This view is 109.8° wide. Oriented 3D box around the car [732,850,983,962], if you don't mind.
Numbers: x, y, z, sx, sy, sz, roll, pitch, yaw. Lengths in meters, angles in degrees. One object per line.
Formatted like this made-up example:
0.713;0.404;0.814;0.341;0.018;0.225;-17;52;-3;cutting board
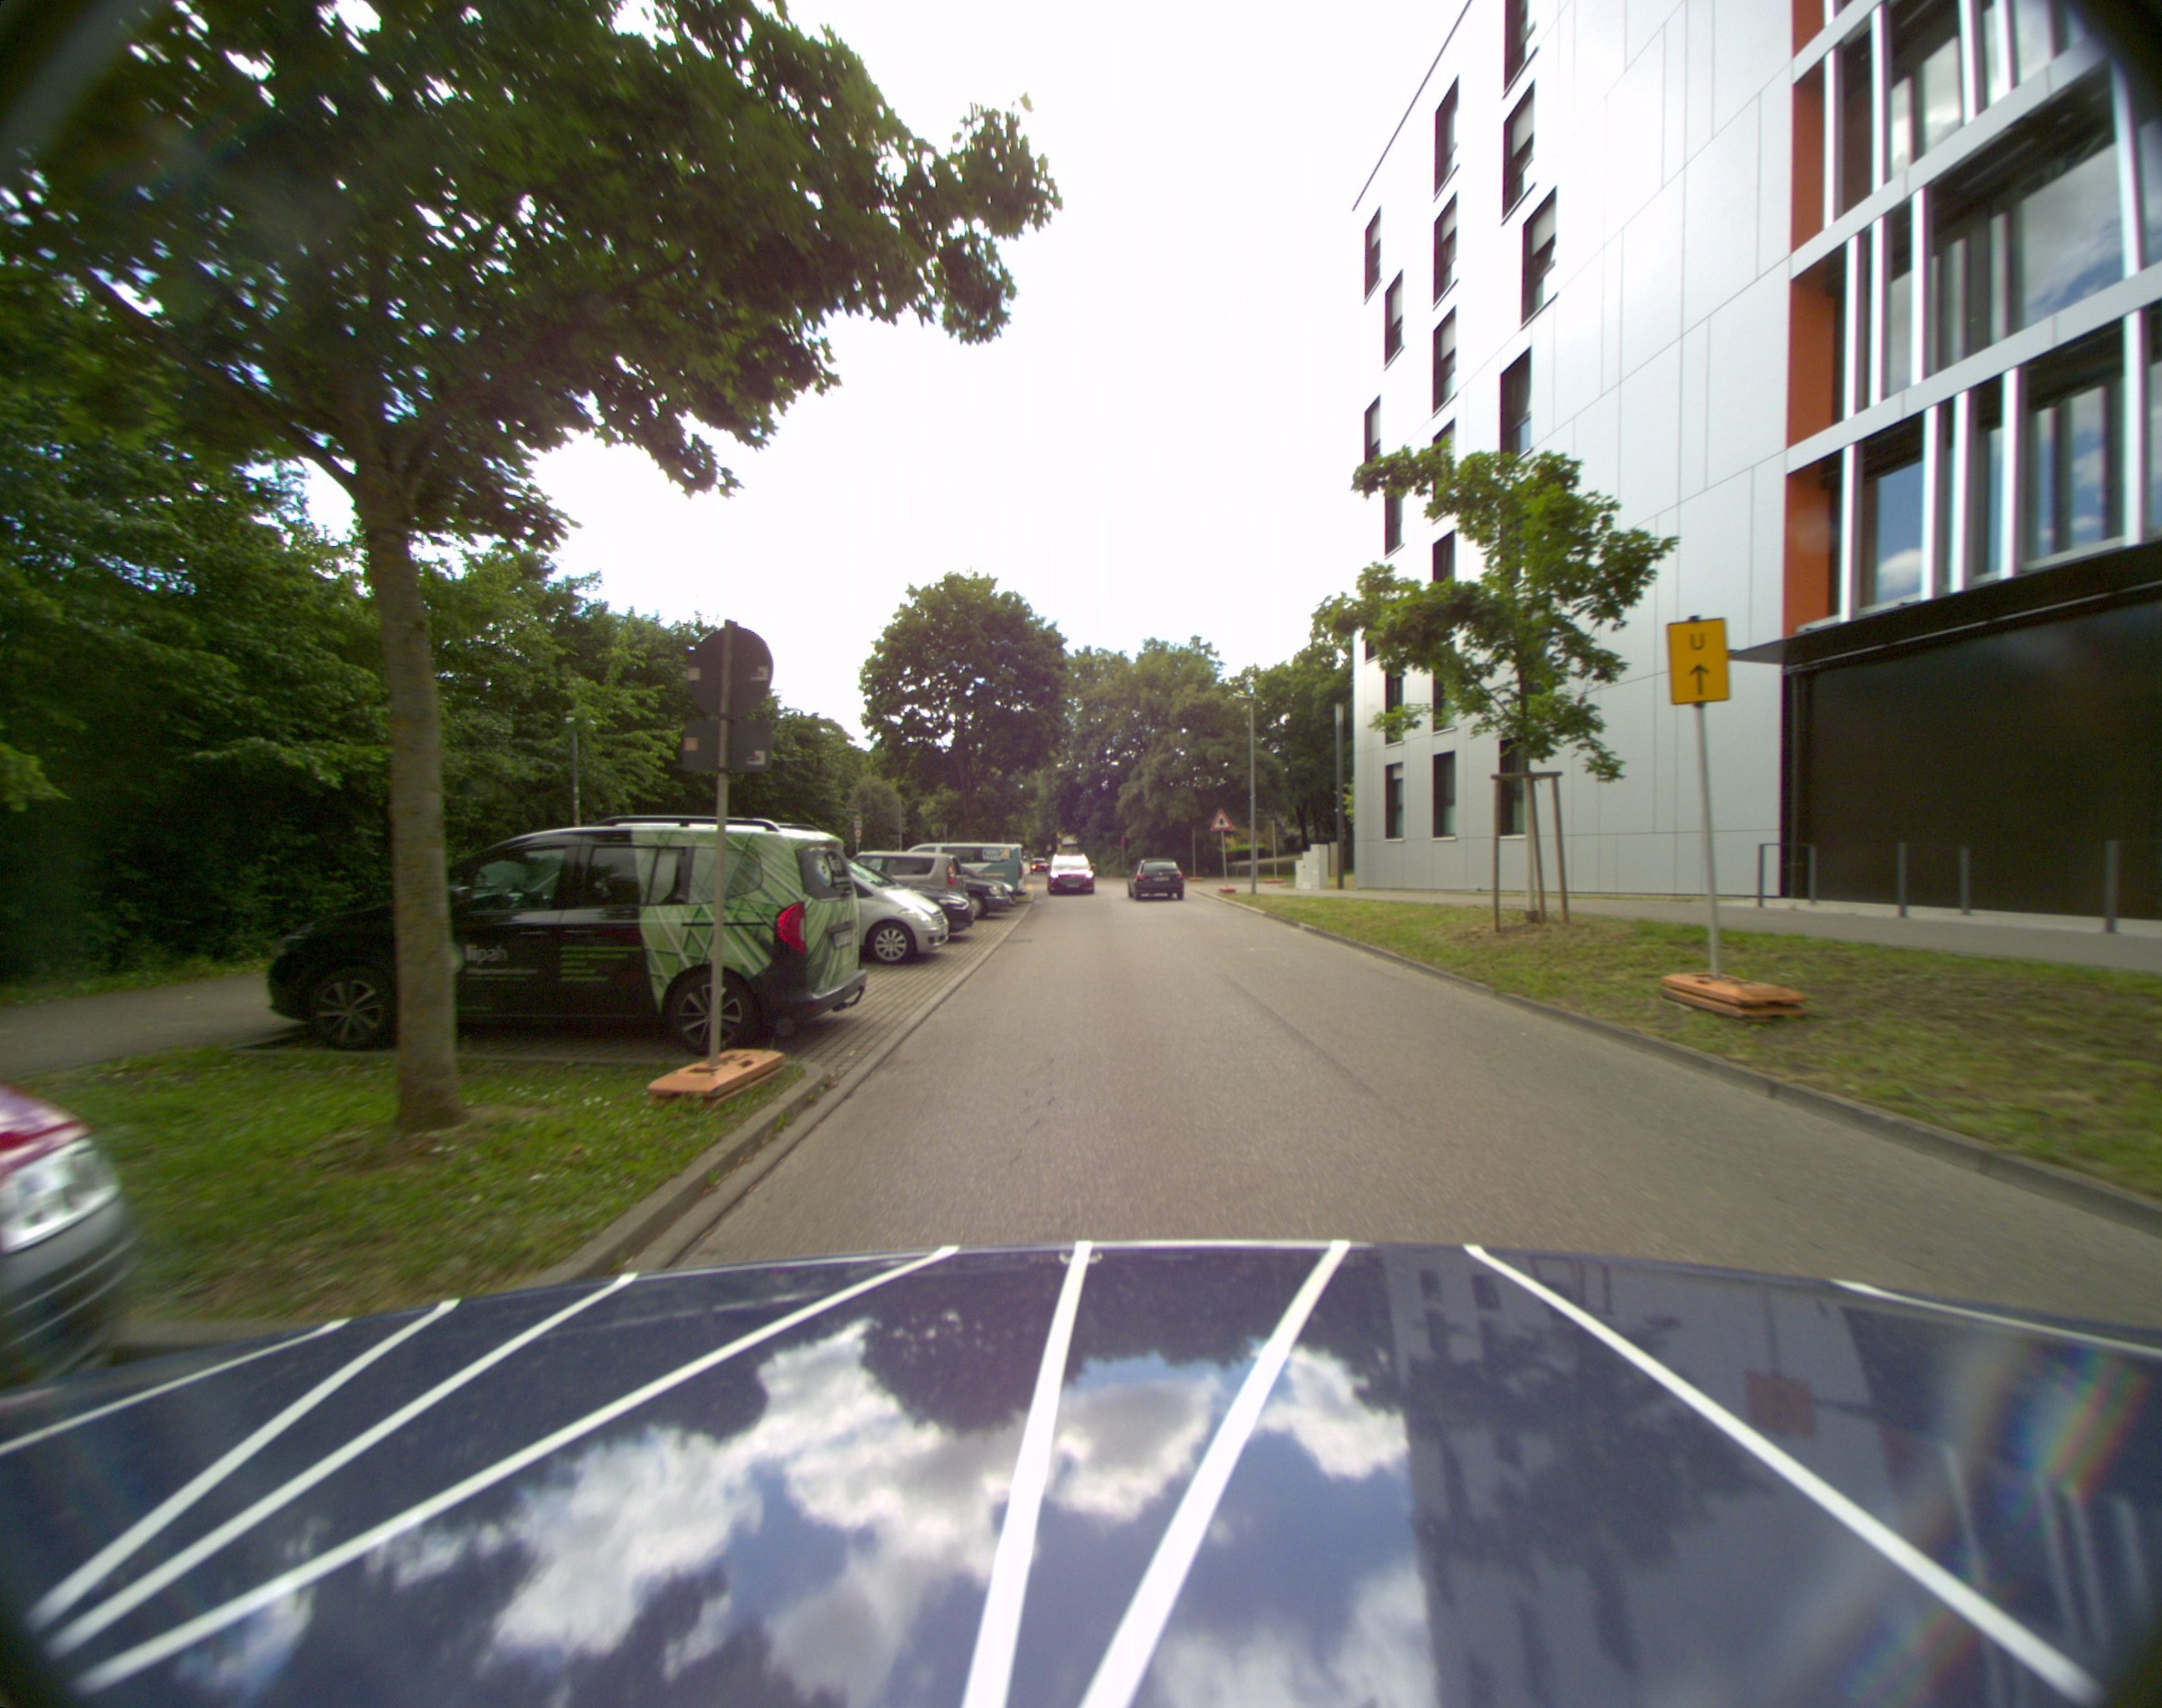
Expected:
-3.940;0.888;13.968;3.979;1.722;1.884;-3;0;-1;car

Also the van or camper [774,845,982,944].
-4.288;0.837;16.524;3.979;1.862;1.728;-3;1;-1;van or camper

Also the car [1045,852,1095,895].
-0.426;0.765;32.350;1.933;1.622;4.242;-2;1;1;car

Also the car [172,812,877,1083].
-4.286;0.689;6.473;4.562;1.888;1.884;1;0;-1;car

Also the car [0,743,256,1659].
-4.354;0.704;1.075;4.292;1.881;1.837;0;0;-1;car

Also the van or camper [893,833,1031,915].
-3.657;0.615;23.984;3.979;2.306;1.884;-3;1;-1;van or camper

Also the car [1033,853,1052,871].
-3.706;0.711;72.499;1.818;1.608;3.998;1;0;-4;car

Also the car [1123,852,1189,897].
2.570;0.658;26.853;1.674;1.383;3.998;-2;1;-3;car

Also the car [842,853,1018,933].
-3.686;0.931;19.125;3.979;1.722;1.884;-3;0;-1;car

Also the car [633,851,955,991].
-4.045;0.904;11.279;3.979;1.722;1.884;-3;0;-1;car

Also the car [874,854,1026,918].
-3.620;0.866;21.682;3.979;1.594;2.105;-1;3;-1;car
